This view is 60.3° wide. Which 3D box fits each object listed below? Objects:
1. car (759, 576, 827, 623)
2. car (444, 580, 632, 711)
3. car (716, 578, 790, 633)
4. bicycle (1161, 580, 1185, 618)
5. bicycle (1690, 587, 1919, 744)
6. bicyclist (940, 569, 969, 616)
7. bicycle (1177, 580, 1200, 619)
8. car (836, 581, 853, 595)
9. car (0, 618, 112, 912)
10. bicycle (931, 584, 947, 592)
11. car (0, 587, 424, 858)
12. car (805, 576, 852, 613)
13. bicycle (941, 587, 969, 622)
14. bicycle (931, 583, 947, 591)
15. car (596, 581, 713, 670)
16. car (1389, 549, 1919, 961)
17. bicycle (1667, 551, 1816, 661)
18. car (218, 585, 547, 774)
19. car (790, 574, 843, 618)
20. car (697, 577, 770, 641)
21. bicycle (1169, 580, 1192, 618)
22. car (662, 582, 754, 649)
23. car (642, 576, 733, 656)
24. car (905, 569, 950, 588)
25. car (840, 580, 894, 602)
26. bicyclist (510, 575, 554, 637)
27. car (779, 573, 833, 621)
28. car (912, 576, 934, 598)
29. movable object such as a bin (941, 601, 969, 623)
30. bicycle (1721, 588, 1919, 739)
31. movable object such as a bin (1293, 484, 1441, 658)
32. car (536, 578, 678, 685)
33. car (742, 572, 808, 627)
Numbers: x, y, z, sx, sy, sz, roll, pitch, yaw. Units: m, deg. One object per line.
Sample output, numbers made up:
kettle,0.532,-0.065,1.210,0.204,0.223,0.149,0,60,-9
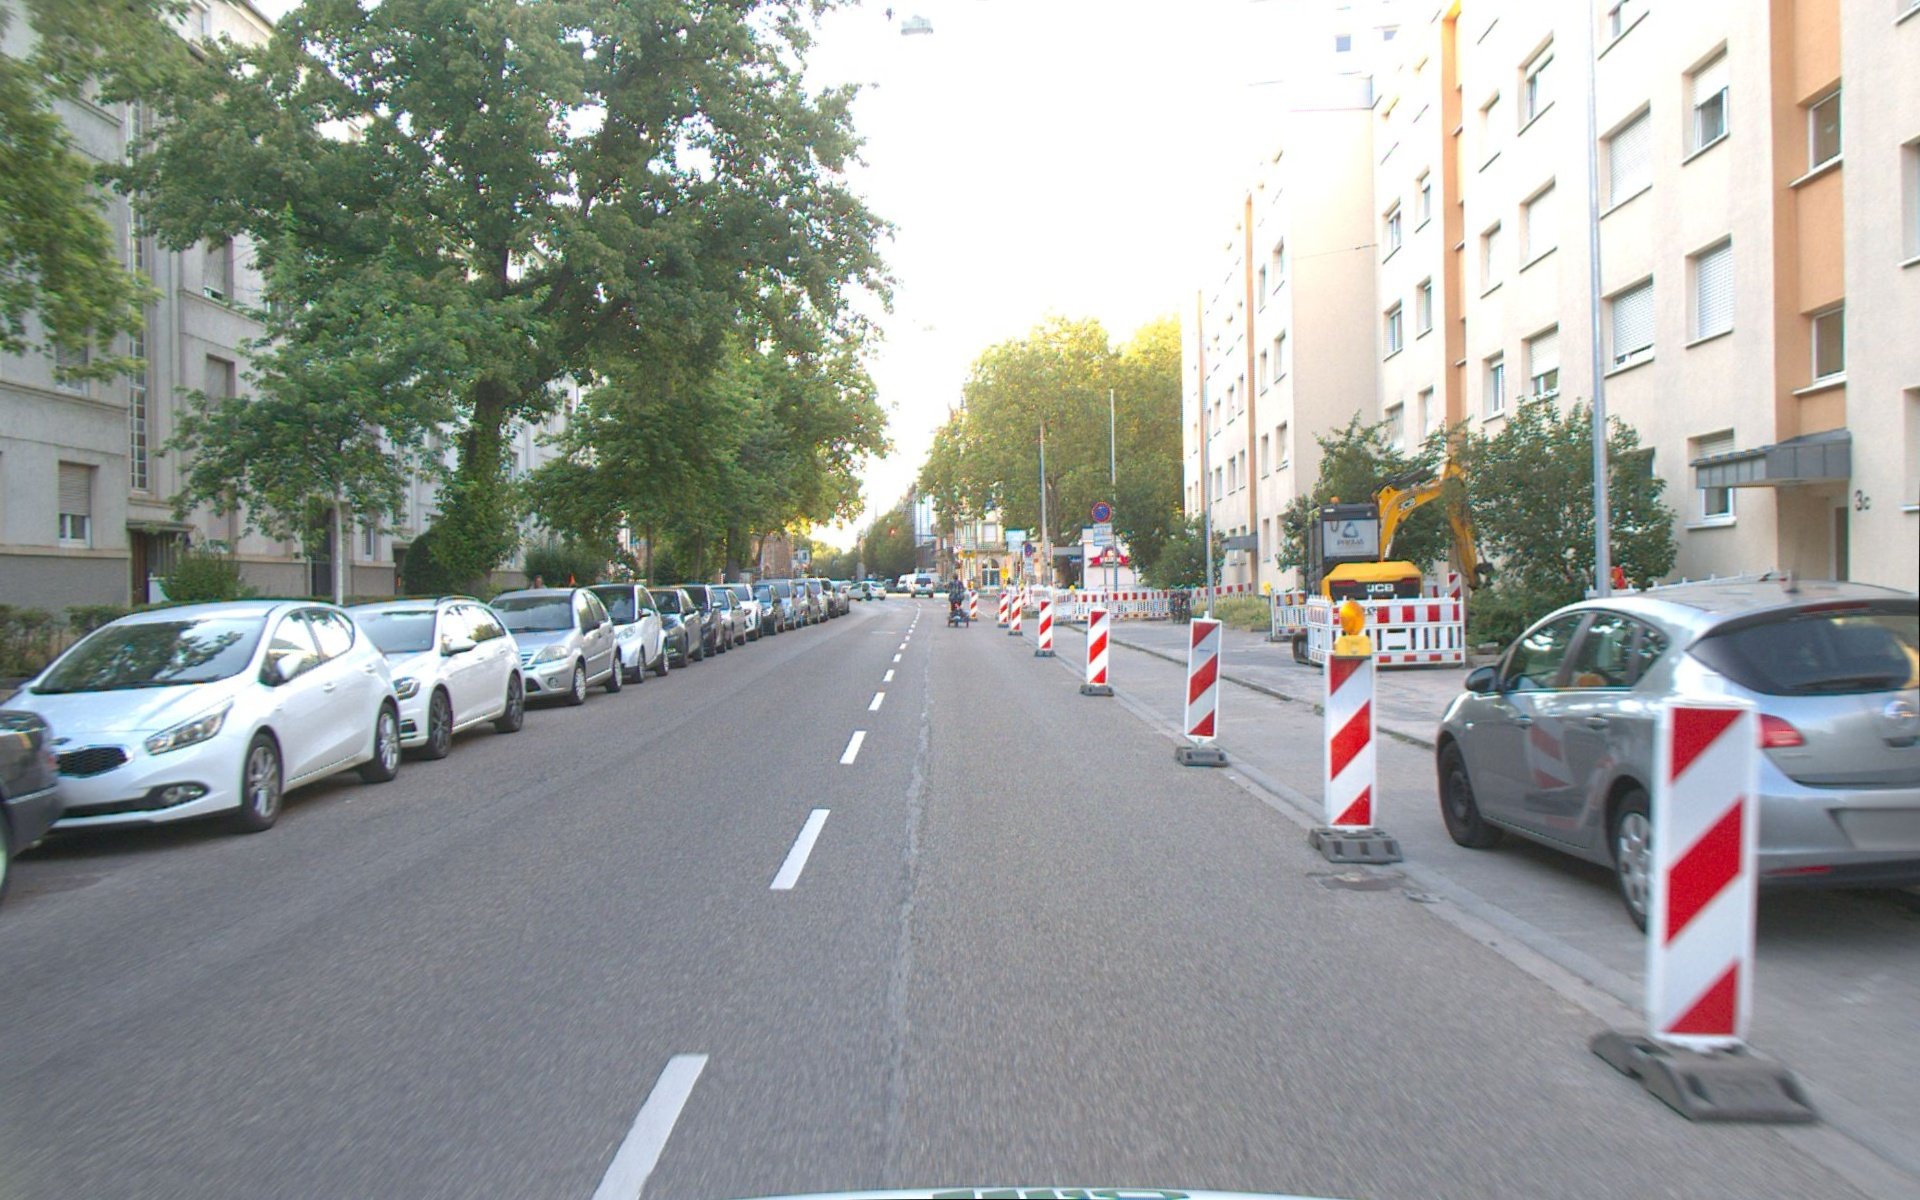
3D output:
car,-5.930,-0.058,59.051,1.696,1.523,4.272,-3,1,3
car,-5.638,0.546,22.507,1.558,1.531,3.798,-4,1,-1
car,-6.192,0.145,49.824,1.673,1.477,3.842,-4,1,-1
bicycle,7.011,-0.036,54.496,0.442,1.243,1.910,0,1,-3
bicycle,6.889,0.494,13.564,0.548,1.192,1.806,-1,1,-20
bicyclist,-0.184,-0.282,59.021,0.920,1.609,1.146,-3,0,0
bicycle,7.525,-0.032,54.529,0.390,1.243,1.825,0,0,-3
car,-14.677,-1.496,210.199,1.748,1.680,3.814,1,0,-9
car,-5.319,0.851,6.500,1.641,1.355,4.578,-4,1,-2
bicycle,-2.544,-1.450,199.739,1.876,0.985,0.545,-1,0,-3
car,-5.260,0.710,11.706,1.659,1.485,4.143,-4,1,-3
car,-6.305,-0.294,79.598,1.914,1.645,4.604,-3,1,-1
bicycle,-0.158,0.154,59.002,0.920,1.192,2.359,-3,0,0
bicycle,-2.570,-1.567,199.541,1.876,0.985,0.545,-1,0,-3
car,-5.764,0.439,31.608,1.558,1.491,4.100,-4,1,-3
car,3.843,0.575,8.837,1.740,1.516,4.572,-5,1,-1
bicycle,9.075,0.060,19.219,1.562,1.243,0.484,-1,0,-8
car,-5.455,0.655,16.272,1.658,1.485,4.482,-4,1,-1
car,-6.190,-0.196,71.761,1.914,1.748,4.770,-3,1,-2
car,-6.164,0.217,45.429,1.559,1.565,4.204,-4,1,-3
bicycle,7.279,-0.034,54.592,0.390,1.243,1.910,0,1,-3
car,-6.028,0.332,40.023,1.558,1.428,4.180,-4,1,-1
car,-5.865,0.322,35.879,1.492,1.555,3.163,-4,1,-2
car,-4.084,-2.690,205.936,5.779,2.327,2.039,-1,1,-44
car,-7.293,-0.681,129.581,3.924,1.613,1.863,-1,1,39
bicyclist,-9.950,0.131,38.485,0.792,1.428,0.973,0,0,-1
car,-5.969,-0.144,64.511,1.810,1.720,4.856,-3,1,-3
car,-3.251,-1.103,143.682,1.829,1.846,3.998,-2,0,-2
movable object such as a bin,-0.171,0.402,57.324,0.920,0.701,0.993,-3,0,0
bicycle,7.389,0.496,14.077,0.616,1.192,1.808,-1,1,-17
movable object such as a bin,6.758,-0.470,27.736,1.893,2.740,2.893,-1,0,4
car,-5.703,0.471,27.007,1.557,1.555,2.922,-4,1,1
car,-6.012,-0.026,54.207,1.673,1.628,4.116,-4,1,-1
